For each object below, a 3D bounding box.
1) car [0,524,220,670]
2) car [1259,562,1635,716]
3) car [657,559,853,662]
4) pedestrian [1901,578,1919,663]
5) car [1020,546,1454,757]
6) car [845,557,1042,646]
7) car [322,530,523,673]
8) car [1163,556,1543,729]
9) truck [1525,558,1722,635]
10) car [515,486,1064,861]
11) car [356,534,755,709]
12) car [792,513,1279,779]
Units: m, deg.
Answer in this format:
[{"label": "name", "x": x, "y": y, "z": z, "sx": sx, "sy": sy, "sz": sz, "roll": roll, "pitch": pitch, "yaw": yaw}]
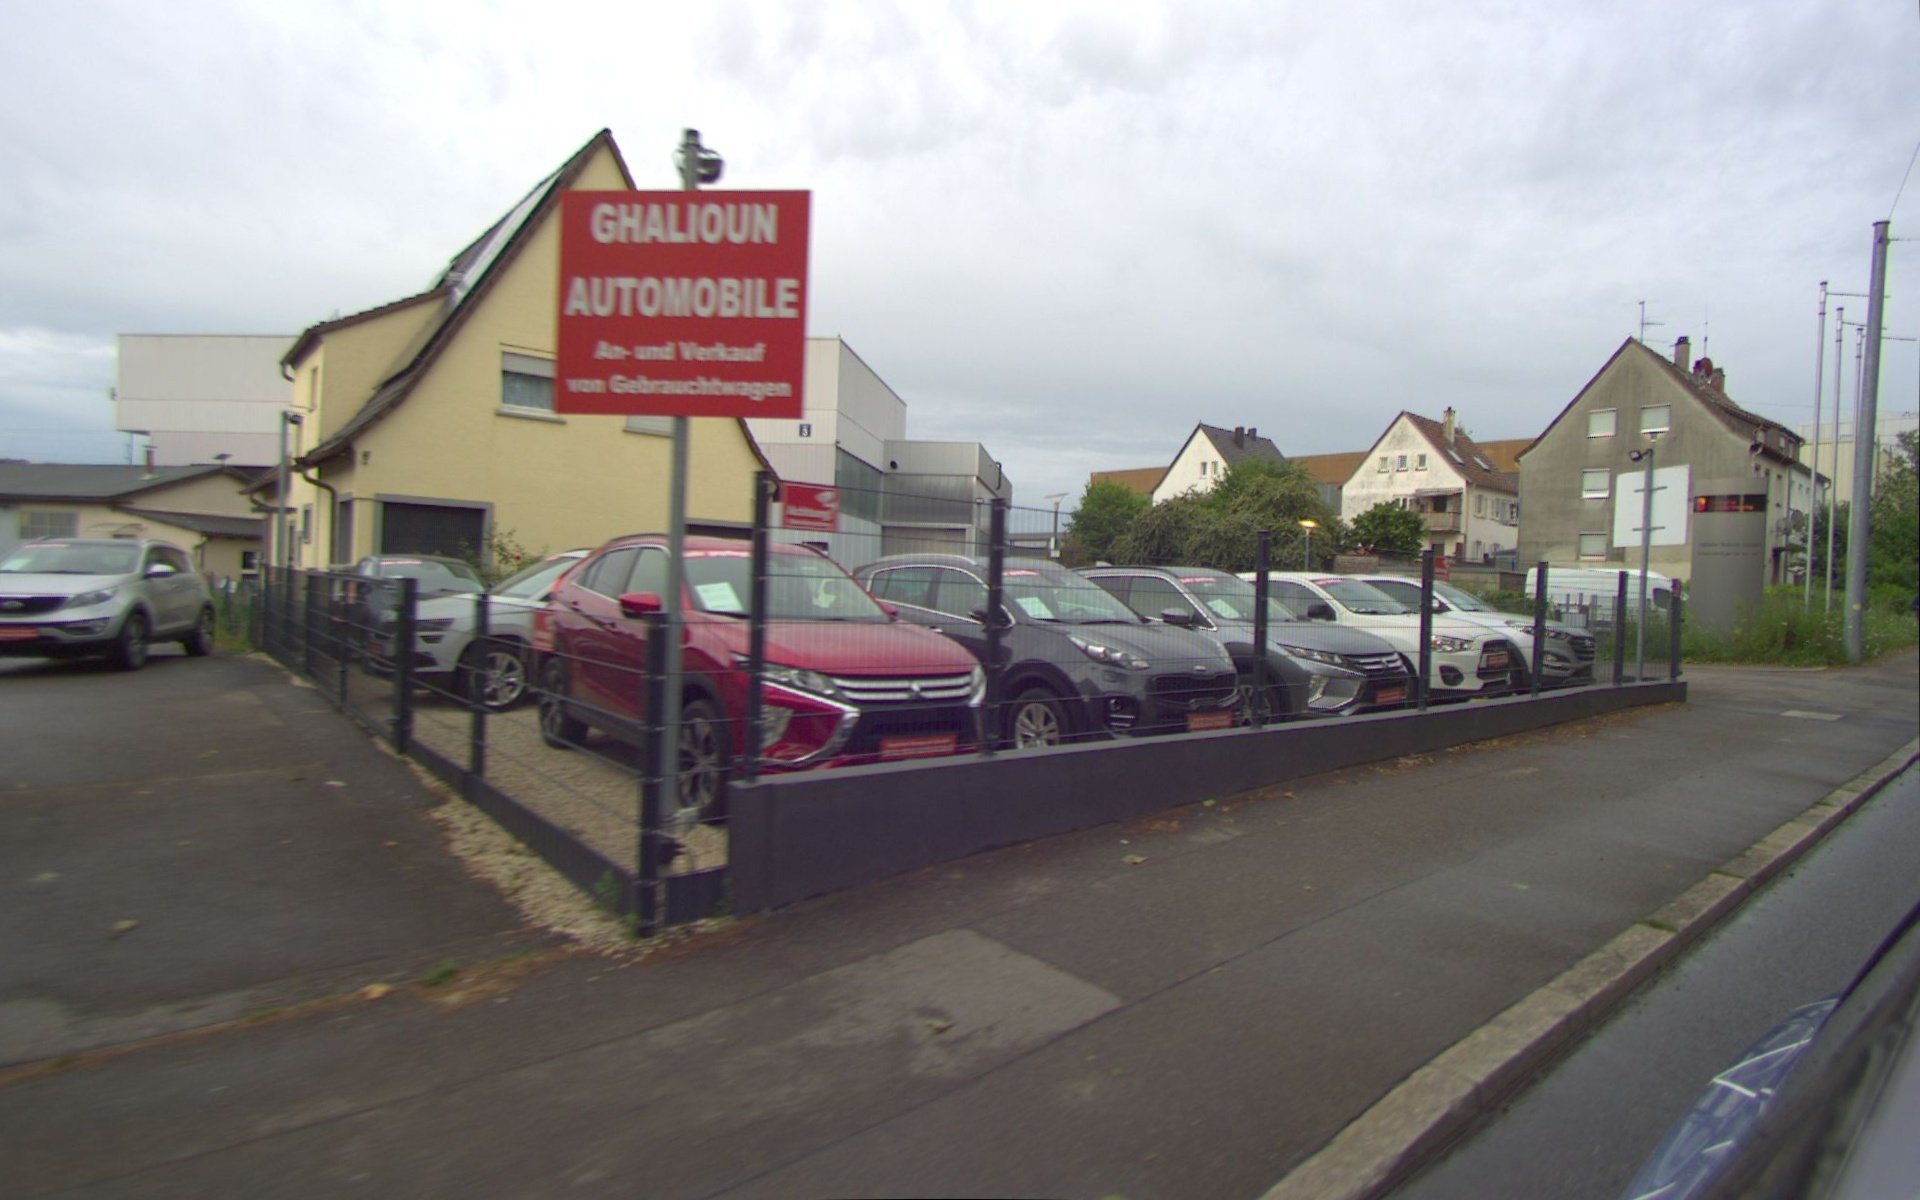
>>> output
[{"label": "car", "x": -11.207, "y": -0.053, "z": 13.051, "sx": 1.783, "sy": 1.613, "sz": 4.008, "roll": -1, "pitch": 1, "yaw": -23}, {"label": "car", "x": 6.580, "y": 0.419, "z": 14.062, "sx": 1.965, "sy": 1.790, "sz": 4.311, "roll": -1, "pitch": 1, "yaw": -40}, {"label": "car", "x": -3.599, "y": 0.151, "z": 17.317, "sx": 1.727, "sy": 1.551, "sz": 3.771, "roll": 0, "pitch": 0, "yaw": -39}, {"label": "pedestrian", "x": 22.069, "y": 0.466, "z": 22.876, "sx": 0.885, "sy": 1.920, "sz": 1.045, "roll": -1, "pitch": 2, "yaw": -40}, {"label": "car", "x": 2.697, "y": 0.404, "z": 10.606, "sx": 1.837, "sy": 1.758, "sz": 4.074, "roll": -1, "pitch": 1, "yaw": -40}, {"label": "car", "x": -0.480, "y": -0.044, "z": 22.059, "sx": 1.837, "sy": 1.646, "sz": 4.514, "roll": 0, "pitch": 3, "yaw": -40}, {"label": "car", "x": -7.545, "y": -0.008, "z": 14.035, "sx": 1.741, "sy": 1.704, "sz": 3.777, "roll": -1, "pitch": 1, "yaw": -39}, {"label": "car", "x": 4.595, "y": 0.415, "z": 12.293, "sx": 1.760, "sy": 1.746, "sz": 3.956, "roll": -1, "pitch": 0, "yaw": -40}, {"label": "truck", "x": 24.717, "y": -0.150, "z": 37.954, "sx": 2.008, "sy": 2.670, "sz": 5.855, "roll": -1, "pitch": 1, "yaw": -40}, {"label": "car", "x": -1.455, "y": 0.320, "z": 6.976, "sx": 1.837, "sy": 1.758, "sz": 4.236, "roll": -1, "pitch": 1, "yaw": -40}, {"label": "car", "x": -4.224, "y": 0.147, "z": 10.807, "sx": 3.565, "sy": 1.549, "sz": 1.811, "roll": -2, "pitch": 1, "yaw": -41}, {"label": "car", "x": 0.415, "y": 0.278, "z": 8.895, "sx": 1.837, "sy": 1.758, "sz": 4.236, "roll": -1, "pitch": 1, "yaw": -40}]
